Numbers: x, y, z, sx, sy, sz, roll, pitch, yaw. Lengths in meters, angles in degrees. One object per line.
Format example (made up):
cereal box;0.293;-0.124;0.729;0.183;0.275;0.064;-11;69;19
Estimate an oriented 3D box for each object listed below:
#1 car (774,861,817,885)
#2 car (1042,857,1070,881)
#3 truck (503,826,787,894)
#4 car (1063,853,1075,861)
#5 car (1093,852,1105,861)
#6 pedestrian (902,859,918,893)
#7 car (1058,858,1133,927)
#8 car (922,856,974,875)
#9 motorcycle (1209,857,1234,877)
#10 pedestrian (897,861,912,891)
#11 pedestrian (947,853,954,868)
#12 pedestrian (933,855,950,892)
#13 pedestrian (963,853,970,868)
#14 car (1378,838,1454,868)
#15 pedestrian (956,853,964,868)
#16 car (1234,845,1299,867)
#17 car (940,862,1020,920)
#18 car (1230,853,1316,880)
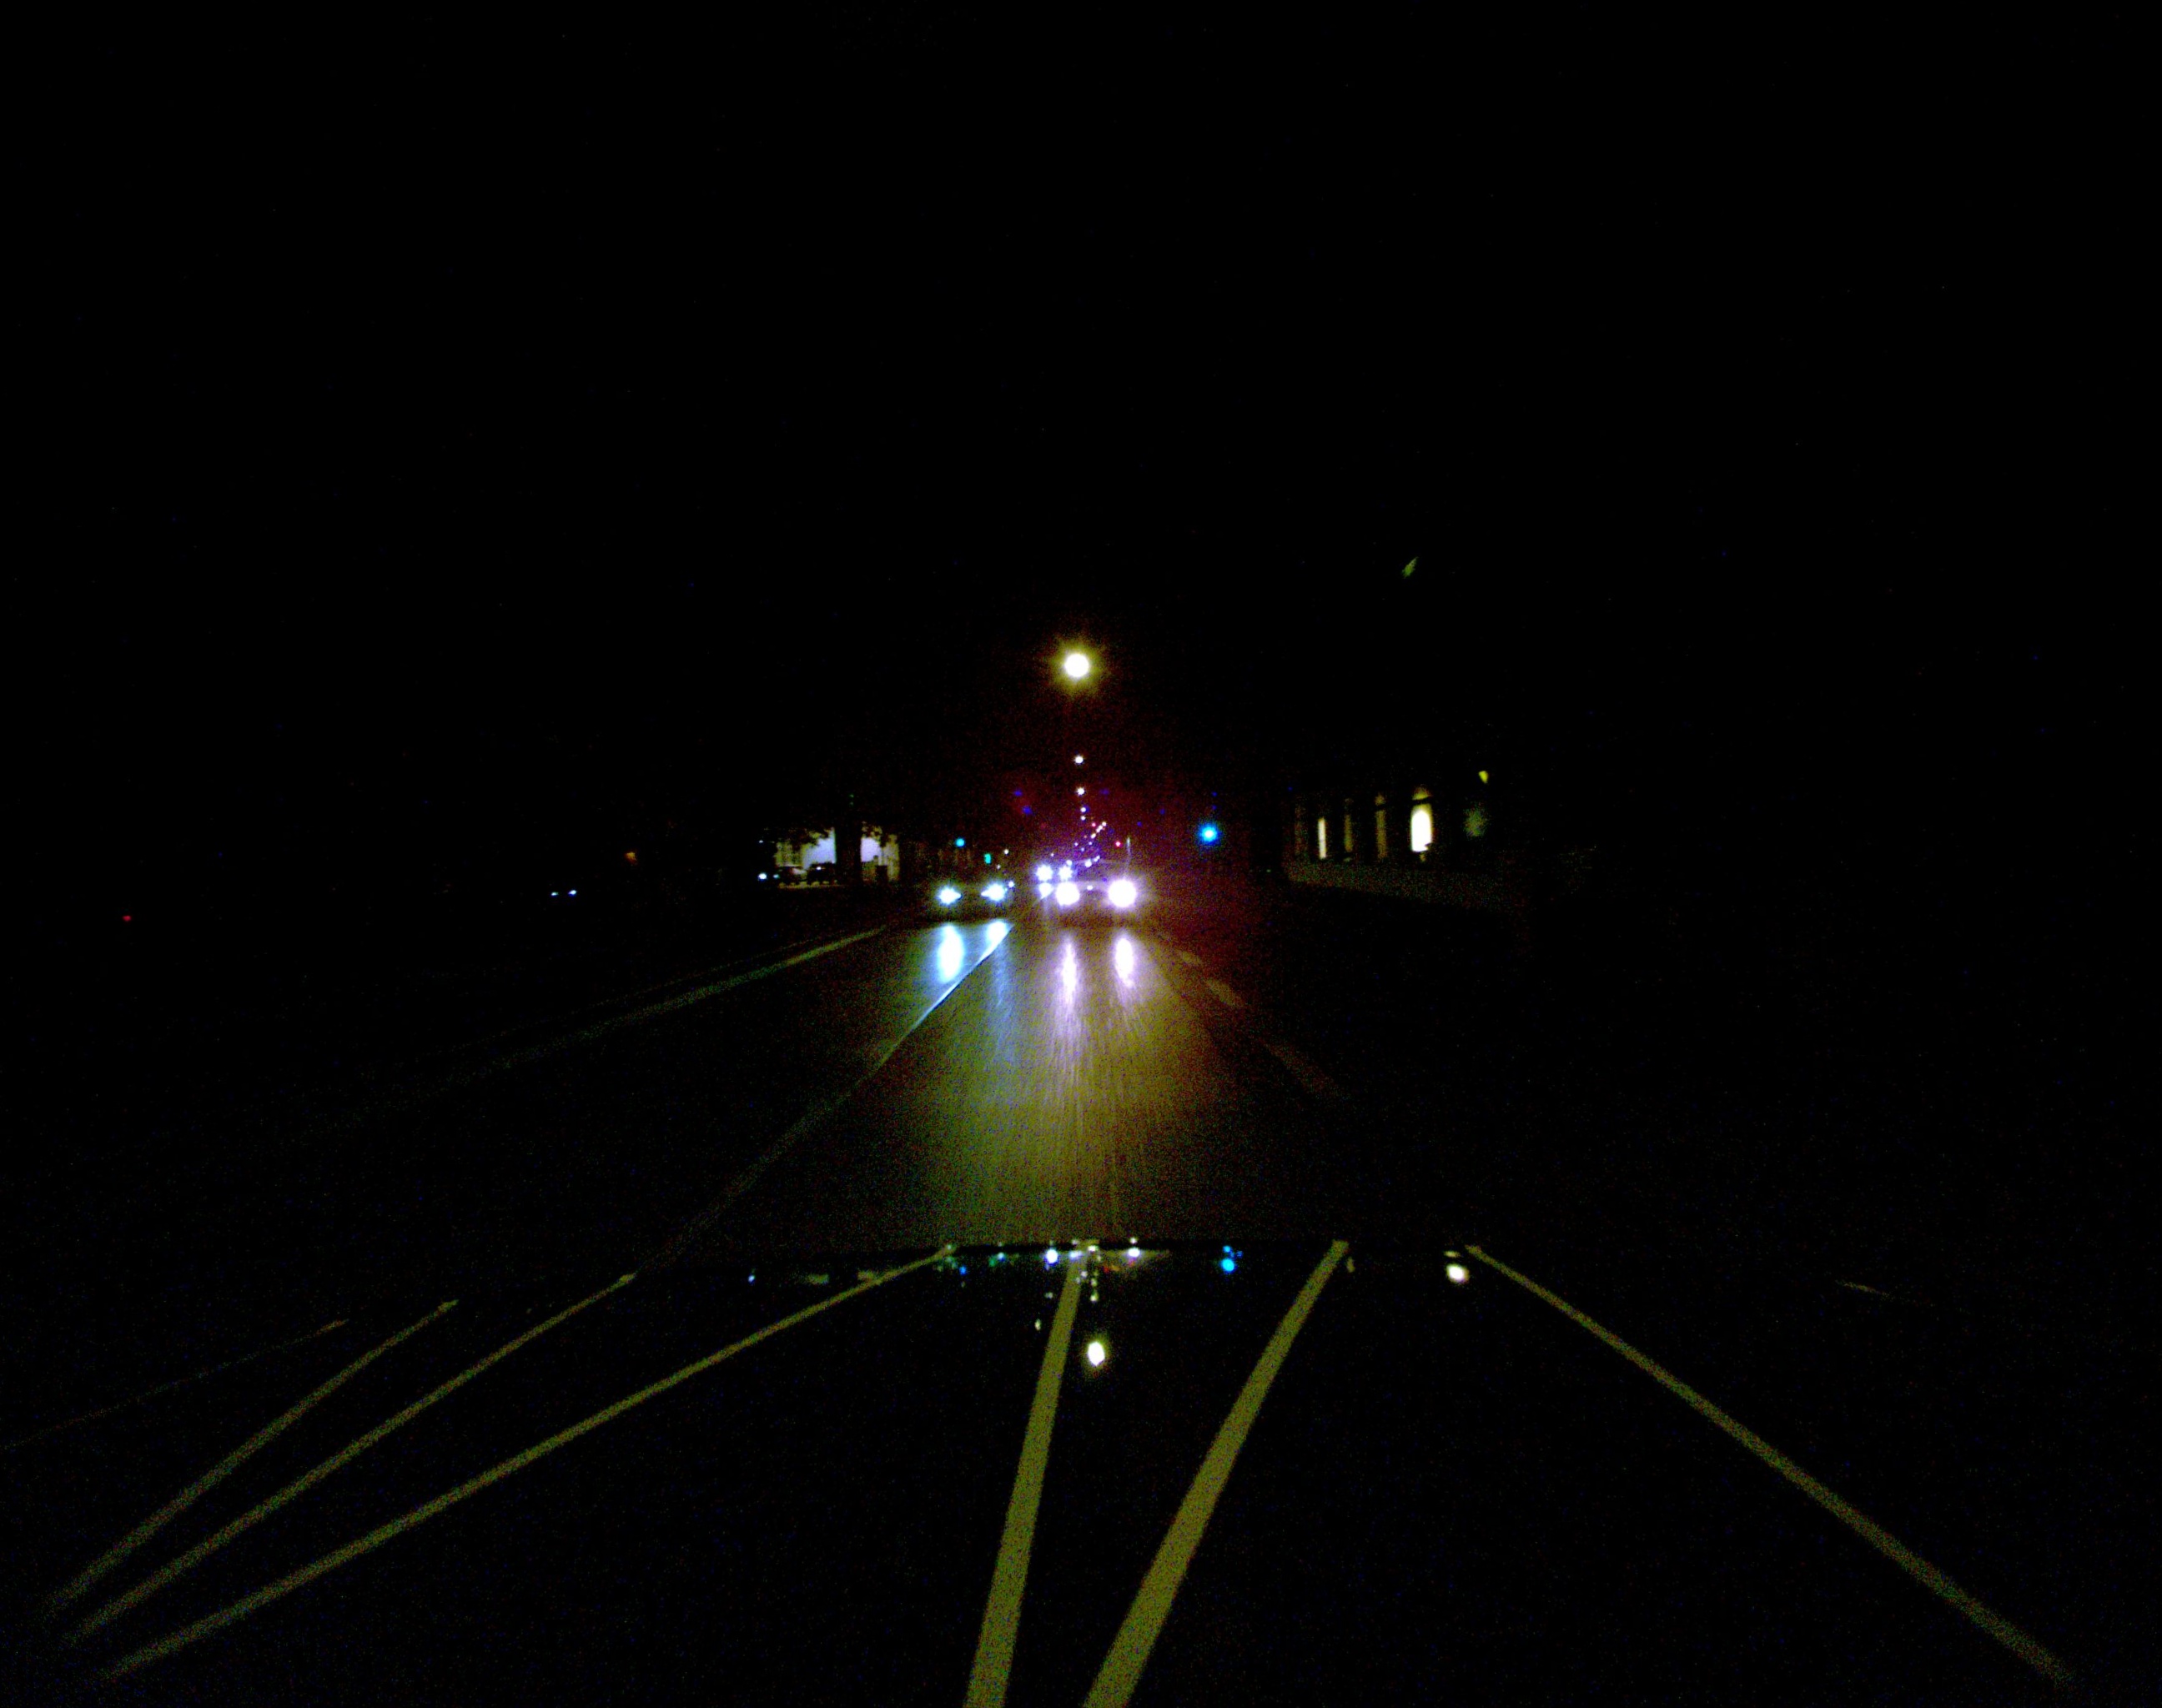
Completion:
car;-21.421;1.387;57.201;1.731;1.587;3.999;-1;1;-1
car;-1.607;0.958;50.839;1.729;1.455;3.999;-1;1;0
truck;-28.485;0.370;50.143;16.820;3.961;3.131;-1;2;1
car;-1.886;0.509;122.372;1.618;1.259;3.628;-3;0;3
car;3.080;0.411;128.862;1.998;1.626;4.001;-1;0;3
pedestrian;-8.517;1.099;37.874;0.622;1.629;0.679;-1;1;1
car;0.393;0.871;18.872;1.634;1.430;3.840;-2;1;2
car;-11.322;0.974;64.843;4.092;1.446;1.786;-1;1;0
motorcycle;8.455;0.768;45.877;0.574;1.173;2.029;-2;1;-17
pedestrian;-9.138;1.126;39.347;0.574;1.525;0.633;-1;1;1
pedestrian;-16.006;0.828;93.117;0.676;1.806;0.906;-1;1;1
pedestrian;-6.775;0.941;37.033;0.623;1.801;0.759;-1;1;1
pedestrian;-14.001;0.794;92.990;0.737;1.707;0.985;-1;1;1
car;23.047;-0.099;52.356;4.349;1.744;1.956;-3;3;3
pedestrian;-14.823;0.783;93.058;0.721;1.778;0.970;-1;1;1
car;14.911;0.135;61.155;4.672;1.620;2.003;-1;1;-1
car;-2.963;1.055;23.146;1.729;1.421;4.498;-3;1;1
car;10.755;0.658;42.843;1.896;1.416;4.718;-1;1;-31
